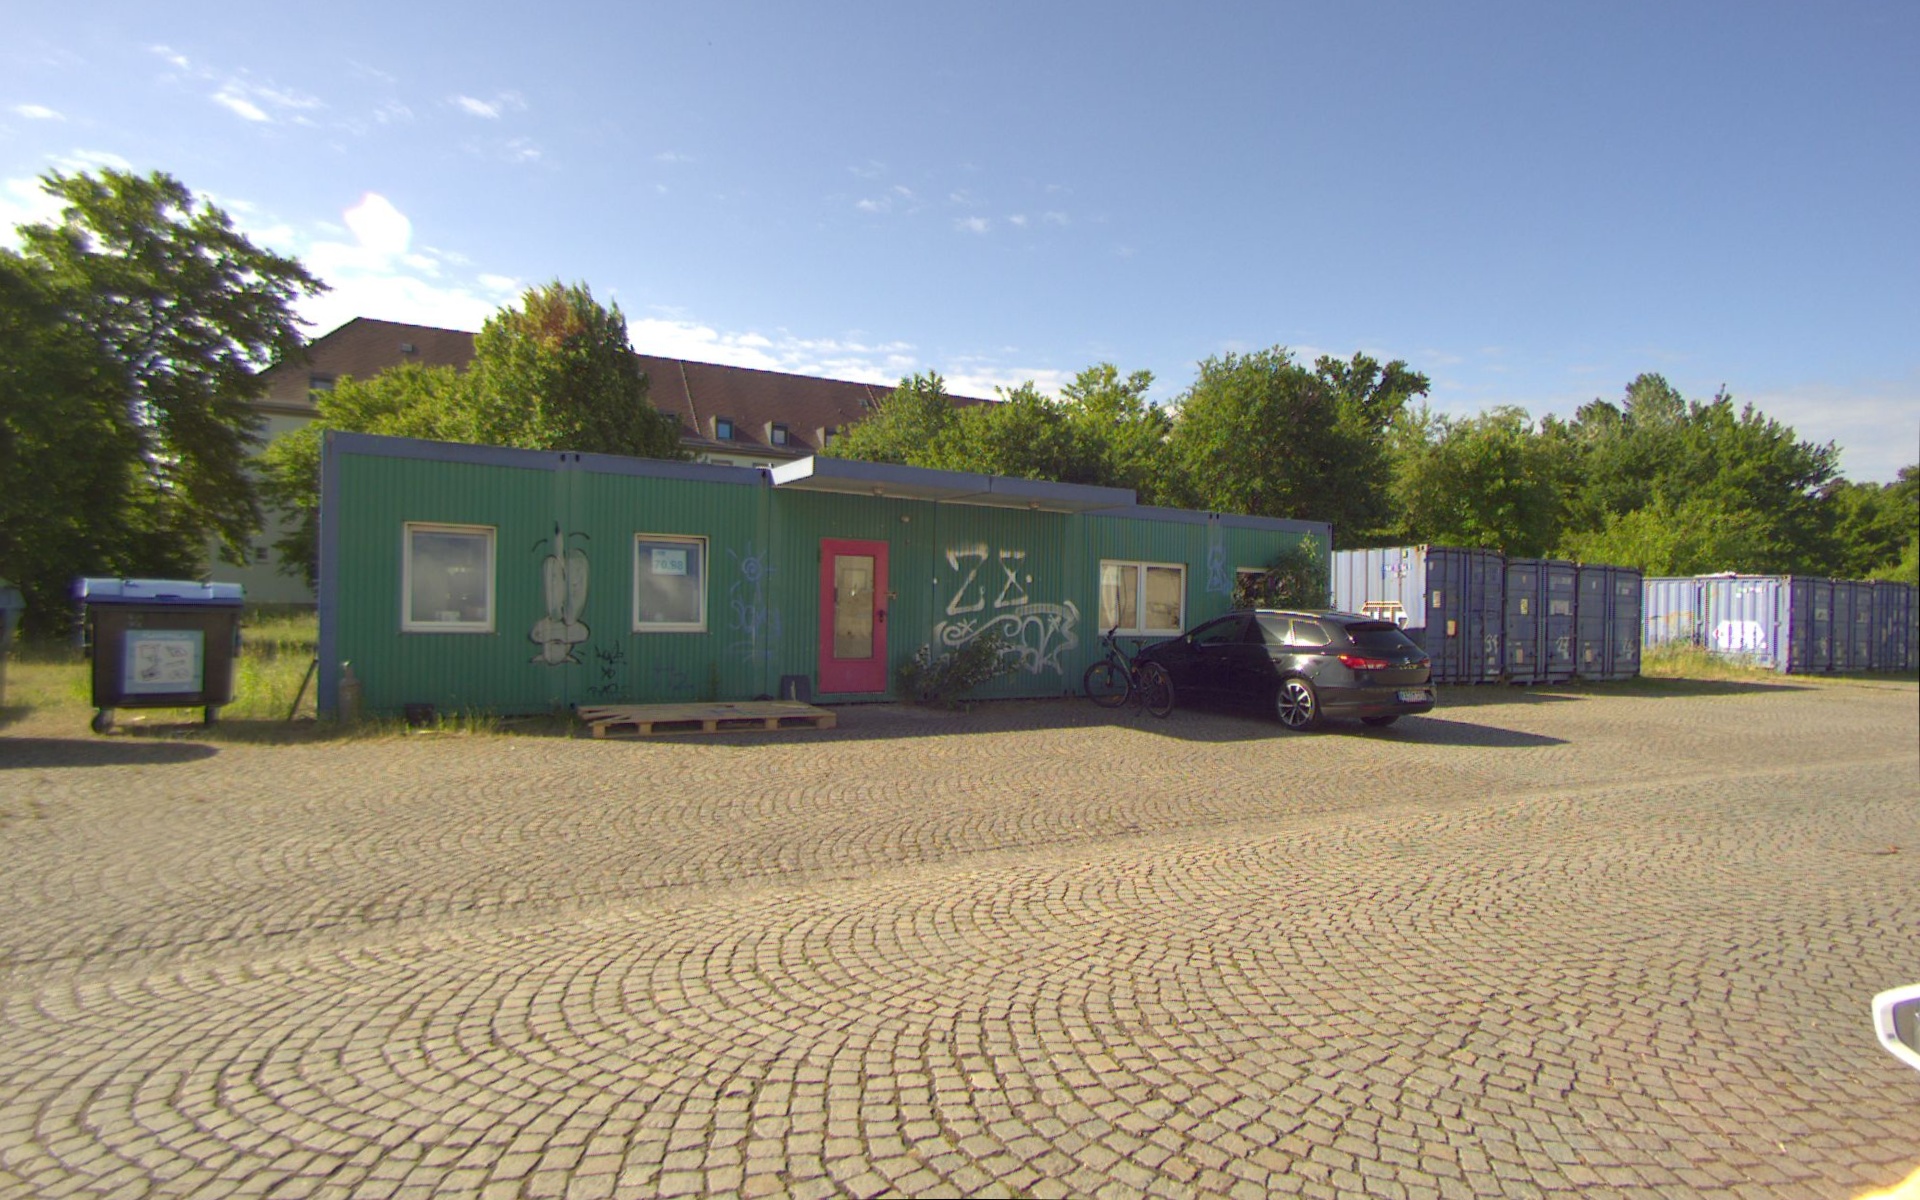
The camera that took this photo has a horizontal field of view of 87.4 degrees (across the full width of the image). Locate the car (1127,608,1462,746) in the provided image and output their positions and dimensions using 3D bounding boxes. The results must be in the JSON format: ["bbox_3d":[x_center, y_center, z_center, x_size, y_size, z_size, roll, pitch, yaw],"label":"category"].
[{"bbox_3d":[4.236,0.883,13.326,1.713,1.432,4.026,1,0,-33],"label":"car"}]

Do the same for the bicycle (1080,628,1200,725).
[{"bbox_3d":[2.383,0.981,13.476,0.665,1.116,1.701,1,1,-27],"label":"bicycle"}]

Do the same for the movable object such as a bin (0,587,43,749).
[{"bbox_3d":[-9.053,0.577,8.689,1.350,1.404,1.077,1,0,-24],"label":"movable object such as a bin"}]

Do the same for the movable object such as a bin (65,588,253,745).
[{"bbox_3d":[-8.050,0.627,10.141,1.397,1.456,1.076,1,-1,-40],"label":"movable object such as a bin"}]
